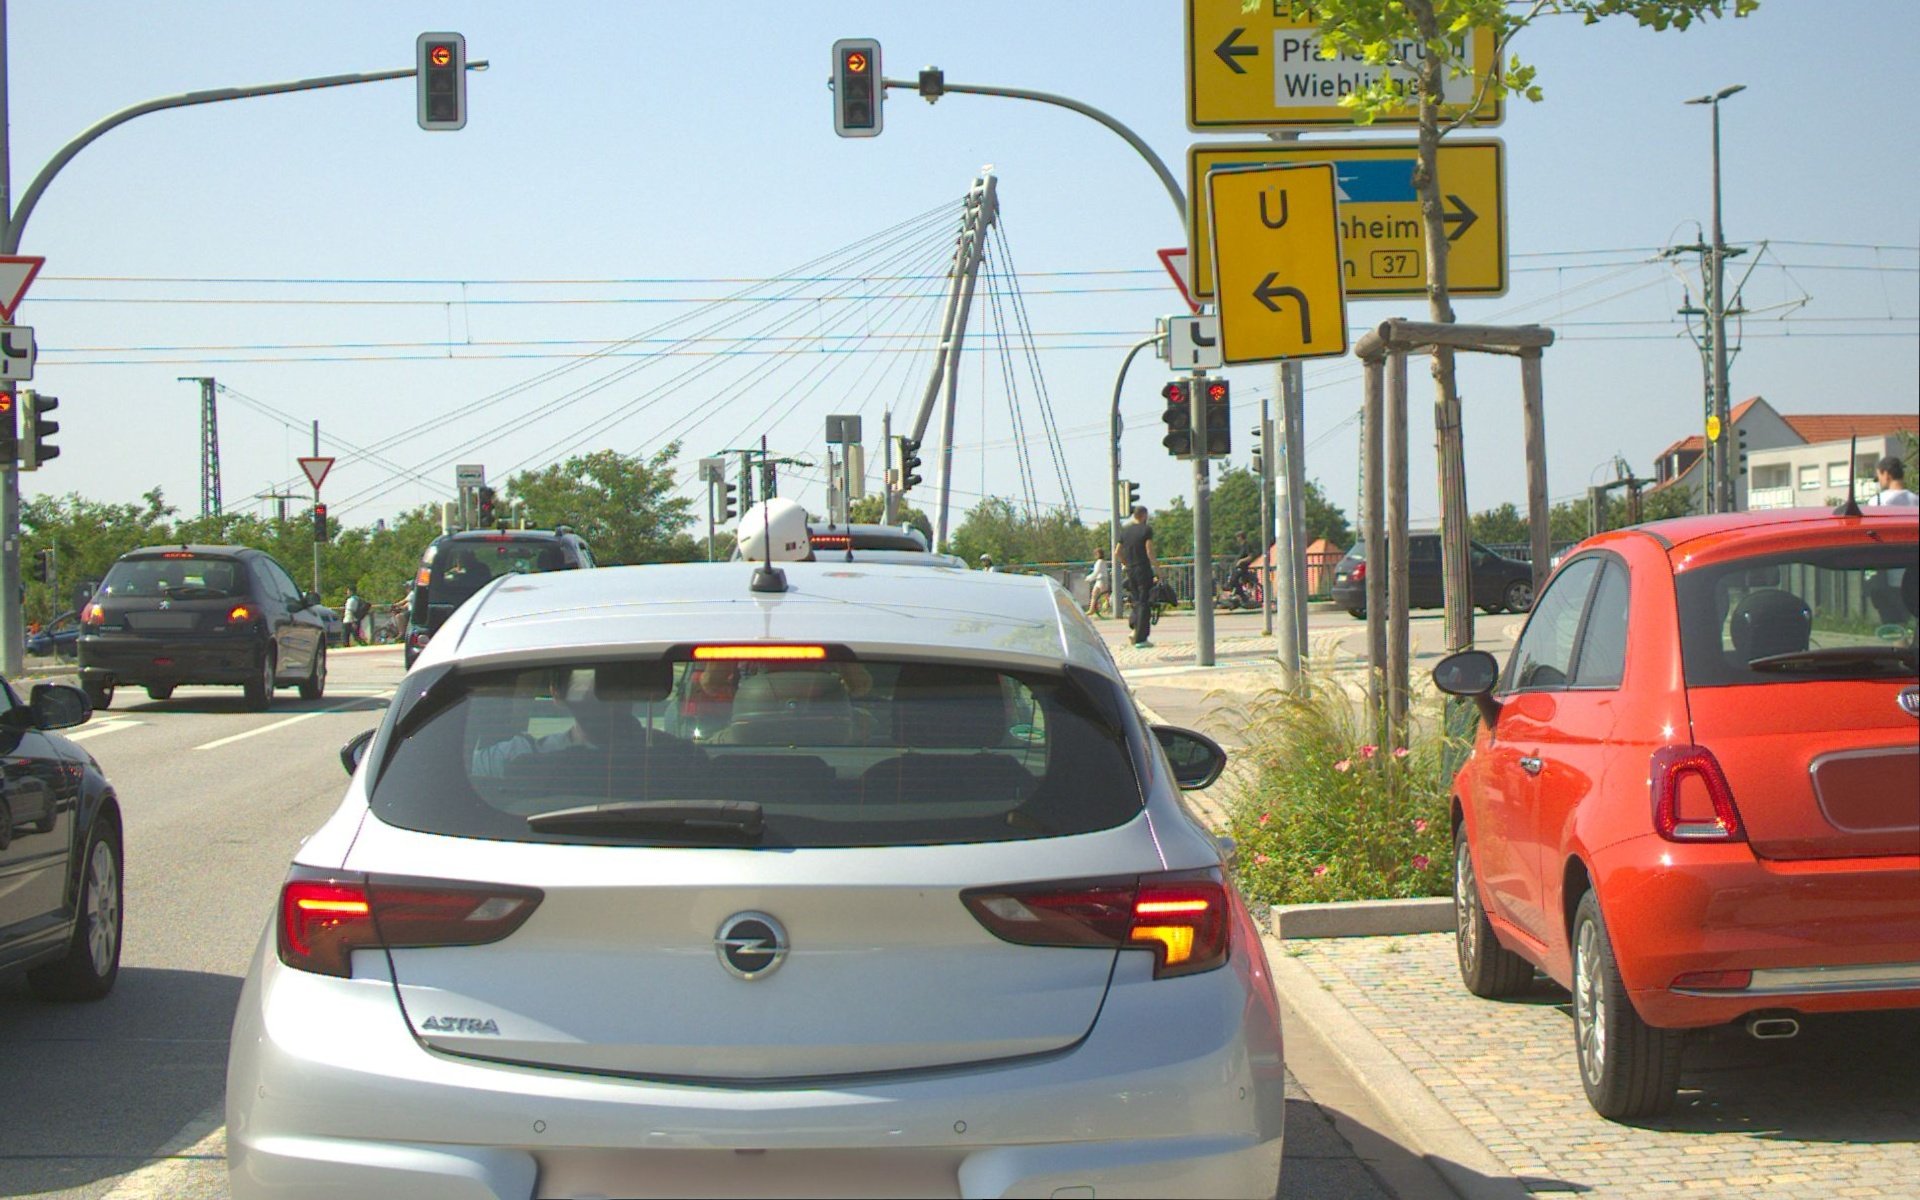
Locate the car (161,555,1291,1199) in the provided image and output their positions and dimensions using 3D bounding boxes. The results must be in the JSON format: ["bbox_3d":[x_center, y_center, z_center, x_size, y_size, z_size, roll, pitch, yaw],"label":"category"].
[{"bbox_3d":[-0.397,0.668,7.300,1.690,1.514,4.271,0,1,-1],"label":"car"}]

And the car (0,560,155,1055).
[{"bbox_3d":[-3.569,0.574,9.611,1.705,1.407,4.000,1,0,0],"label":"car"}]

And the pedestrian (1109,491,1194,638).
[{"bbox_3d":[2.458,-0.455,44.150,0.753,1.857,0.740,1,0,43],"label":"pedestrian"}]

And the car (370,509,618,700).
[{"bbox_3d":[-4.204,0.032,31.567,1.803,1.616,3.917,1,0,-1],"label":"car"}]

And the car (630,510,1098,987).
[{"bbox_3d":[-0.383,0.526,14.156,1.634,1.668,3.745,1,0,-1],"label":"car"}]

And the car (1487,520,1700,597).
[{"bbox_3d":[14.219,-0.914,77.228,4.244,1.668,2.001,0,0,-18],"label":"car"}]

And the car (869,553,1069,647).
[{"bbox_3d":[0.145,0.006,62.935,3.506,1.635,1.800,1,0,-4],"label":"car"}]

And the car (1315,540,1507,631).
[{"bbox_3d":[10.550,-0.334,80.409,3.987,2.007,2.000,-1,-1,-29],"label":"car"}]

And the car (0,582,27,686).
[{"bbox_3d":[-20.468,0.651,67.009,3.991,2.007,1.998,0,0,20],"label":"car"}]

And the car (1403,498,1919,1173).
[{"bbox_3d":[2.385,0.499,10.037,1.669,1.534,3.917,-2,2,1],"label":"car"}]

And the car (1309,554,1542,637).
[{"bbox_3d":[8.243,-0.079,61.014,3.774,1.385,1.666,1,0,-7],"label":"car"}]

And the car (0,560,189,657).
[{"bbox_3d":[-15.816,0.136,60.747,3.818,1.623,1.856,1,0,13],"label":"car"}]

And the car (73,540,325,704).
[{"bbox_3d":[-6.786,0.183,30.920,1.587,1.390,3.340,0,0,-1],"label":"car"}]

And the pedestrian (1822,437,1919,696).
[{"bbox_3d":[6.705,-0.234,24.715,0.758,1.823,0.885,1,0,-1],"label":"pedestrian"}]
